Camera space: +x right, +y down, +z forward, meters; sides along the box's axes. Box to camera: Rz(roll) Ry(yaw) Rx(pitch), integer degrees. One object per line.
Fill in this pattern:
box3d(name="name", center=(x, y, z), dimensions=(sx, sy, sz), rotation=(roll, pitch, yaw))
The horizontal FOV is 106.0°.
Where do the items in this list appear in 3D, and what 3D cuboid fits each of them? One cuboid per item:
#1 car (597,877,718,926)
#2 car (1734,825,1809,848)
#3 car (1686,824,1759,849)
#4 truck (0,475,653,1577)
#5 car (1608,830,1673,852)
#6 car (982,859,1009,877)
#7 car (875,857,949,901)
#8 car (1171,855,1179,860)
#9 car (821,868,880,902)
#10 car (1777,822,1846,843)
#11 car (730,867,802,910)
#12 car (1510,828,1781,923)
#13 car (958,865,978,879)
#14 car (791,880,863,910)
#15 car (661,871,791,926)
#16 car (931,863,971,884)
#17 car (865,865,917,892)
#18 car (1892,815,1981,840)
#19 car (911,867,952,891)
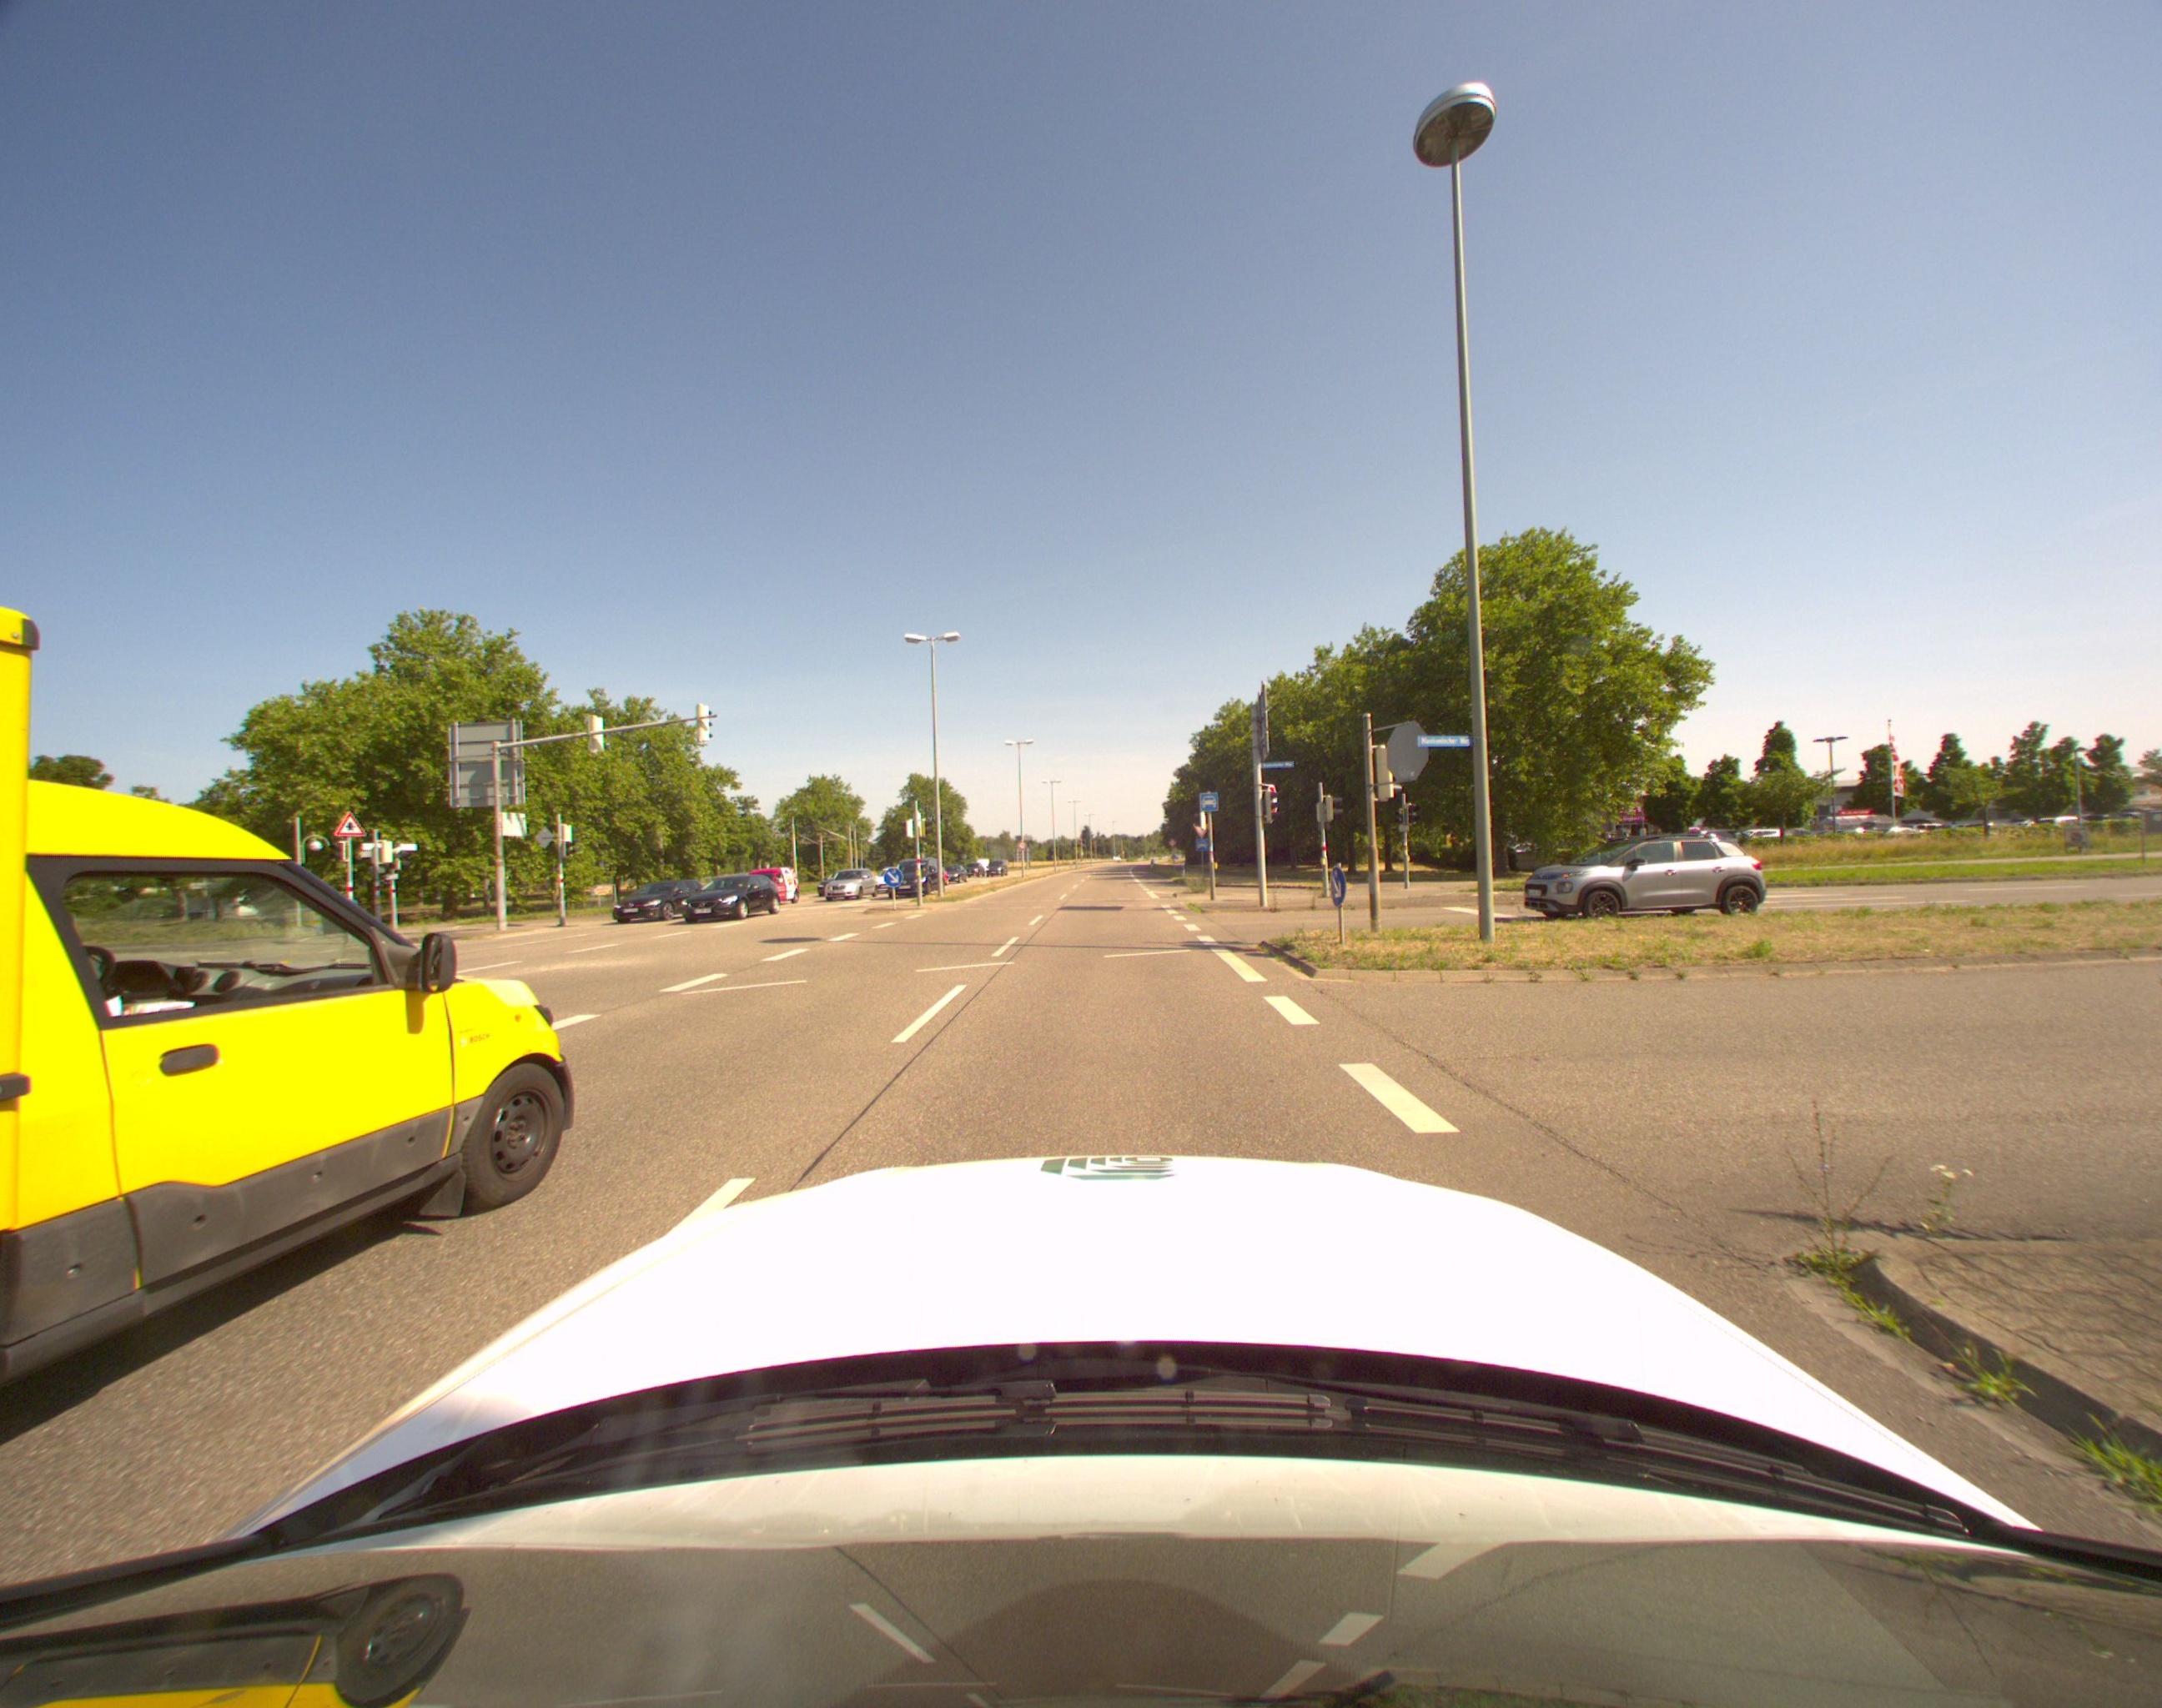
box3d(name="car", center=(-15.210, 1.674, 29.552), dimensions=(1.877, 1.457, 4.234), rotation=(-3, 0, 4))
box3d(name="car", center=(58.521, -1.477, 69.081), dimensions=(4.469, 1.750, 1.991), rotation=(-3, -1, 6))
box3d(name="car", center=(49.685, -1.320, 63.157), dimensions=(3.963, 1.728, 2.005), rotation=(-3, 0, 9))
box3d(name="truck", center=(-3.482, 0.395, 1.473), dimensions=(2.104, 2.457, 5.918), rotation=(-2, 0, 1))
box3d(name="car", center=(51.621, -1.181, 75.232), dimensions=(4.469, 1.750, 1.991), rotation=(-3, -1, 6))
box3d(name="car", center=(-8.994, 1.423, 85.934), dimensions=(1.973, 1.779, 4.493), rotation=(-3, 0, 3))
box3d(name="car", center=(-7.504, 1.066, 36.645), dimensions=(1.972, 1.750, 4.513), rotation=(-3, 0, 4))
box3d(name="car", center=(27.956, 0.981, 242.302), dimensions=(1.968, 1.457, 4.131), rotation=(-3, 0, 12))
box3d(name="car", center=(-11.071, 1.447, 39.391), dimensions=(1.613, 1.457, 3.872), rotation=(-3, 0, 1))
box3d(name="car", center=(70.464, -2.092, 78.633), dimensions=(4.462, 1.750, 1.995), rotation=(-3, -1, 13))
box3d(name="car", center=(-14.530, 1.548, 37.791), dimensions=(1.700, 1.769, 4.226), rotation=(-4, 0, -2))
box3d(name="car", center=(10.895, 0.406, 15.943), dimensions=(4.037, 1.564, 1.743), rotation=(-3, -1, 1))
box3d(name="car", center=(-12.729, 2.034, 92.073), dimensions=(1.978, 1.457, 4.221), rotation=(-3, 0, -6))
box3d(name="car", center=(-15.225, 2.450, 49.187), dimensions=(1.983, 1.474, 5.628), rotation=(-3, 0, 7))
box3d(name="car", center=(-11.281, 1.364, 26.284), dimensions=(1.972, 1.457, 4.338), rotation=(-3, 0, 4))
box3d(name="car", center=(-9.986, 1.488, 62.774), dimensions=(1.972, 1.457, 4.455), rotation=(-3, 0, 4))
box3d(name="car", center=(-10.975, 1.418, 47.275), dimensions=(1.820, 1.386, 3.848), rotation=(-3, 0, 4))
box3d(name="car", center=(68.773, -2.111, 65.545), dimensions=(4.452, 1.750, 1.999), rotation=(-3, -1, 24))
box3d(name="car", center=(-10.104, 1.665, 55.391), dimensions=(1.808, 1.485, 4.003), rotation=(-2, 0, 3))
